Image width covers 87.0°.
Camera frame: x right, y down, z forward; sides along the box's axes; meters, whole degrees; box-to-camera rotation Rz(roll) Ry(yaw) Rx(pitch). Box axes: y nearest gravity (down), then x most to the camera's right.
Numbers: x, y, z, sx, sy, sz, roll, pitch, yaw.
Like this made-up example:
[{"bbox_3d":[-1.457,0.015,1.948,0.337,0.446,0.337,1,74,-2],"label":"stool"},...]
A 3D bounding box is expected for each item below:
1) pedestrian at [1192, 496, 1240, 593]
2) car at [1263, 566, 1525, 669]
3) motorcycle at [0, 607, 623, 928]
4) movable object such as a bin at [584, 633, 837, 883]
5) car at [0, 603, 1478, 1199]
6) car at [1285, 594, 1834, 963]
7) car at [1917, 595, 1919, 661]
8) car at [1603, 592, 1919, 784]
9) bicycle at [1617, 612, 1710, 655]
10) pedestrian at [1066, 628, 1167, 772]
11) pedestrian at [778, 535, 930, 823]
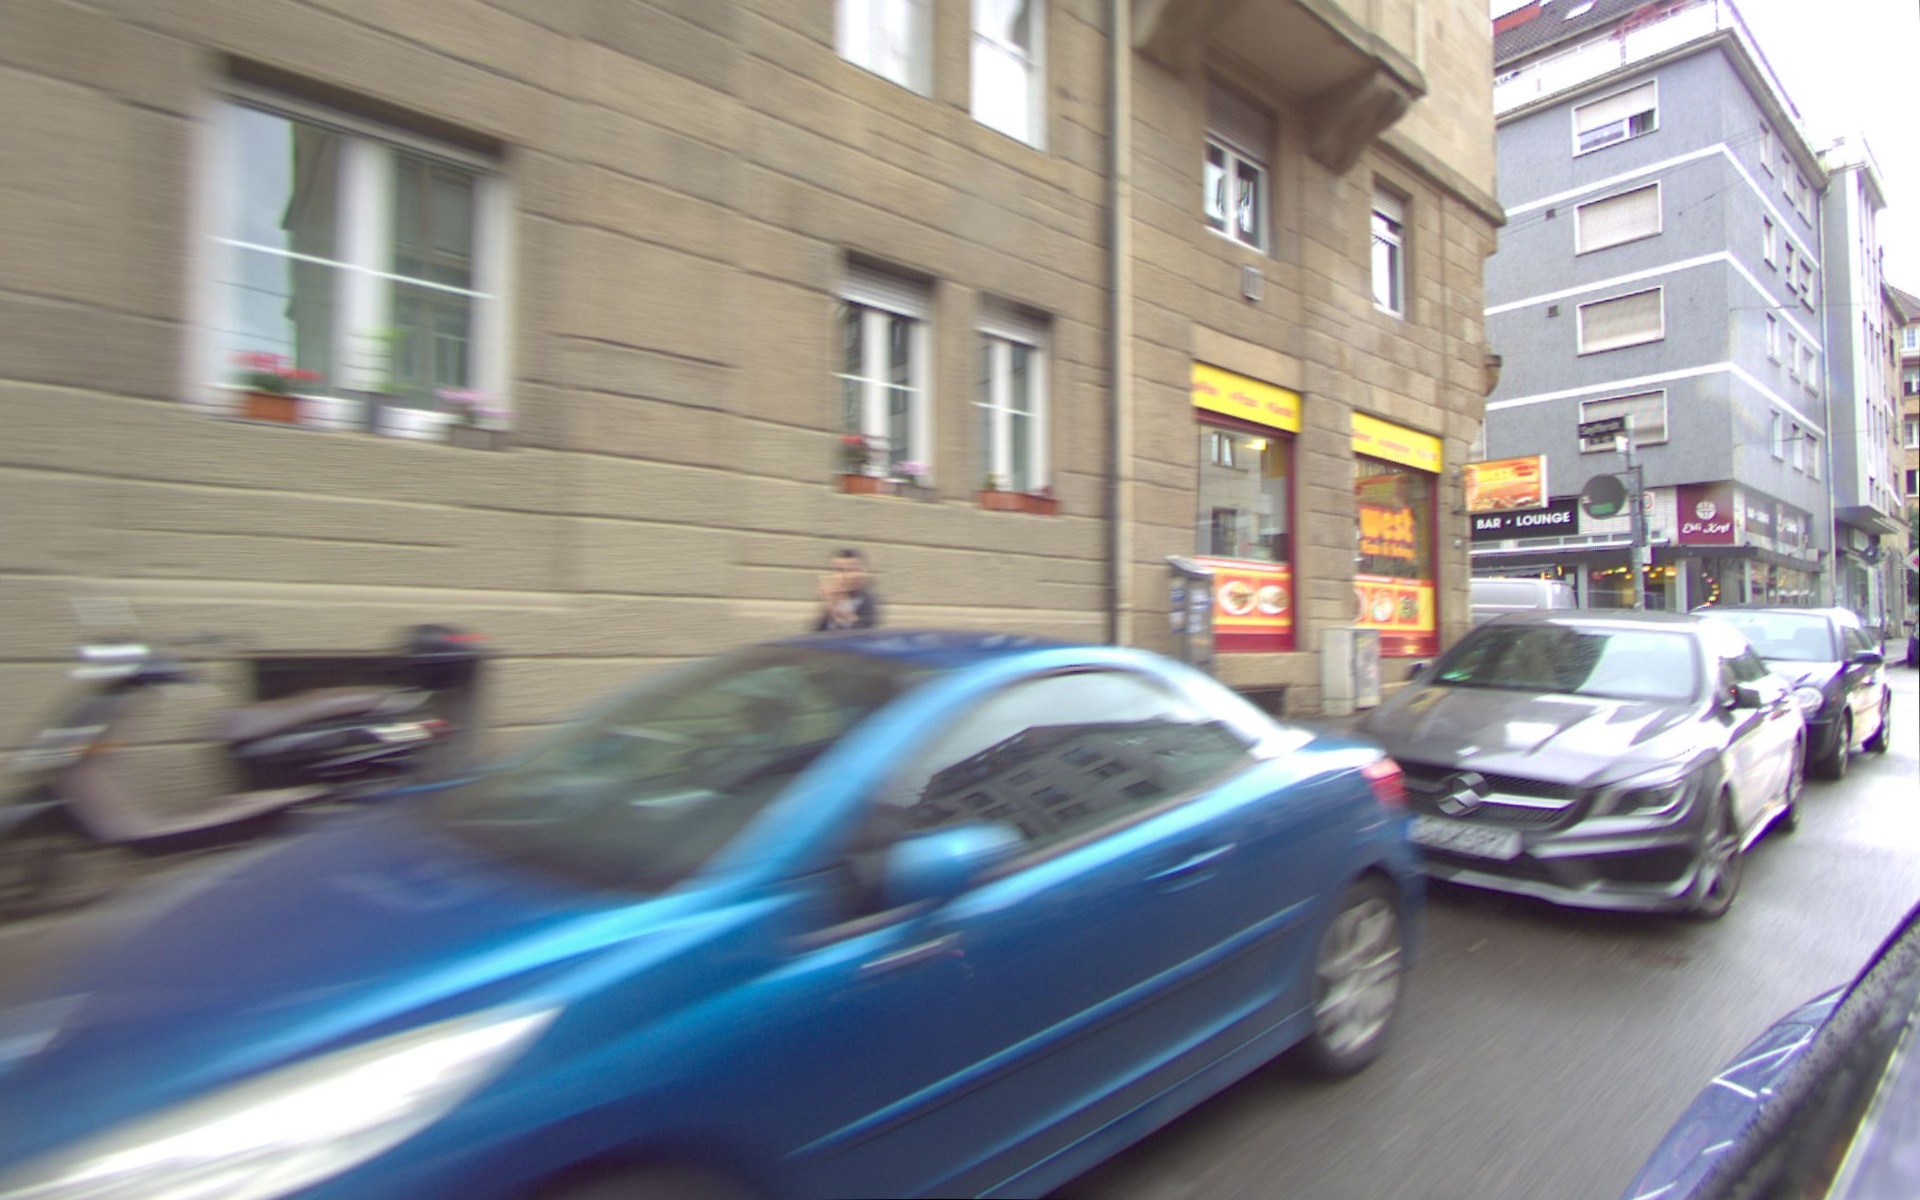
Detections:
[{"bbox_3d":[5.574,-1.200,22.042,0.743,2.039,0.627,3,-1,-40],"label":"pedestrian"},{"bbox_3d":[9.220,0.277,21.854,1.965,1.884,4.787,0,2,-41],"label":"car"},{"bbox_3d":[-3.060,0.643,4.834,2.697,1.214,0.706,0,-1,-41],"label":"motorcycle"},{"bbox_3d":[-1.287,0.744,5.274,1.104,1.117,0.666,0,-1,-41],"label":"movable object such as a bin"},{"bbox_3d":[-0.251,0.719,2.795,3.949,1.416,1.709,0,0,-42],"label":"car"},{"bbox_3d":[3.878,0.698,6.135,4.411,1.404,1.756,0,1,-44],"label":"car"},{"bbox_3d":[23.879,0.664,23.937,1.692,1.501,3.866,1,1,45],"label":"car"},{"bbox_3d":[7.791,0.682,9.729,3.723,1.462,1.674,0,1,-40],"label":"car"},{"bbox_3d":[16.951,0.792,24.417,0.523,0.985,1.752,0,-1,-39],"label":"bicycle"},{"bbox_3d":[1.235,0.761,8.000,0.616,1.063,0.511,0,-1,-40],"label":"pedestrian"},{"bbox_3d":[-0.619,0.428,5.914,0.697,1.555,0.562,1,-1,-40],"label":"pedestrian"}]
